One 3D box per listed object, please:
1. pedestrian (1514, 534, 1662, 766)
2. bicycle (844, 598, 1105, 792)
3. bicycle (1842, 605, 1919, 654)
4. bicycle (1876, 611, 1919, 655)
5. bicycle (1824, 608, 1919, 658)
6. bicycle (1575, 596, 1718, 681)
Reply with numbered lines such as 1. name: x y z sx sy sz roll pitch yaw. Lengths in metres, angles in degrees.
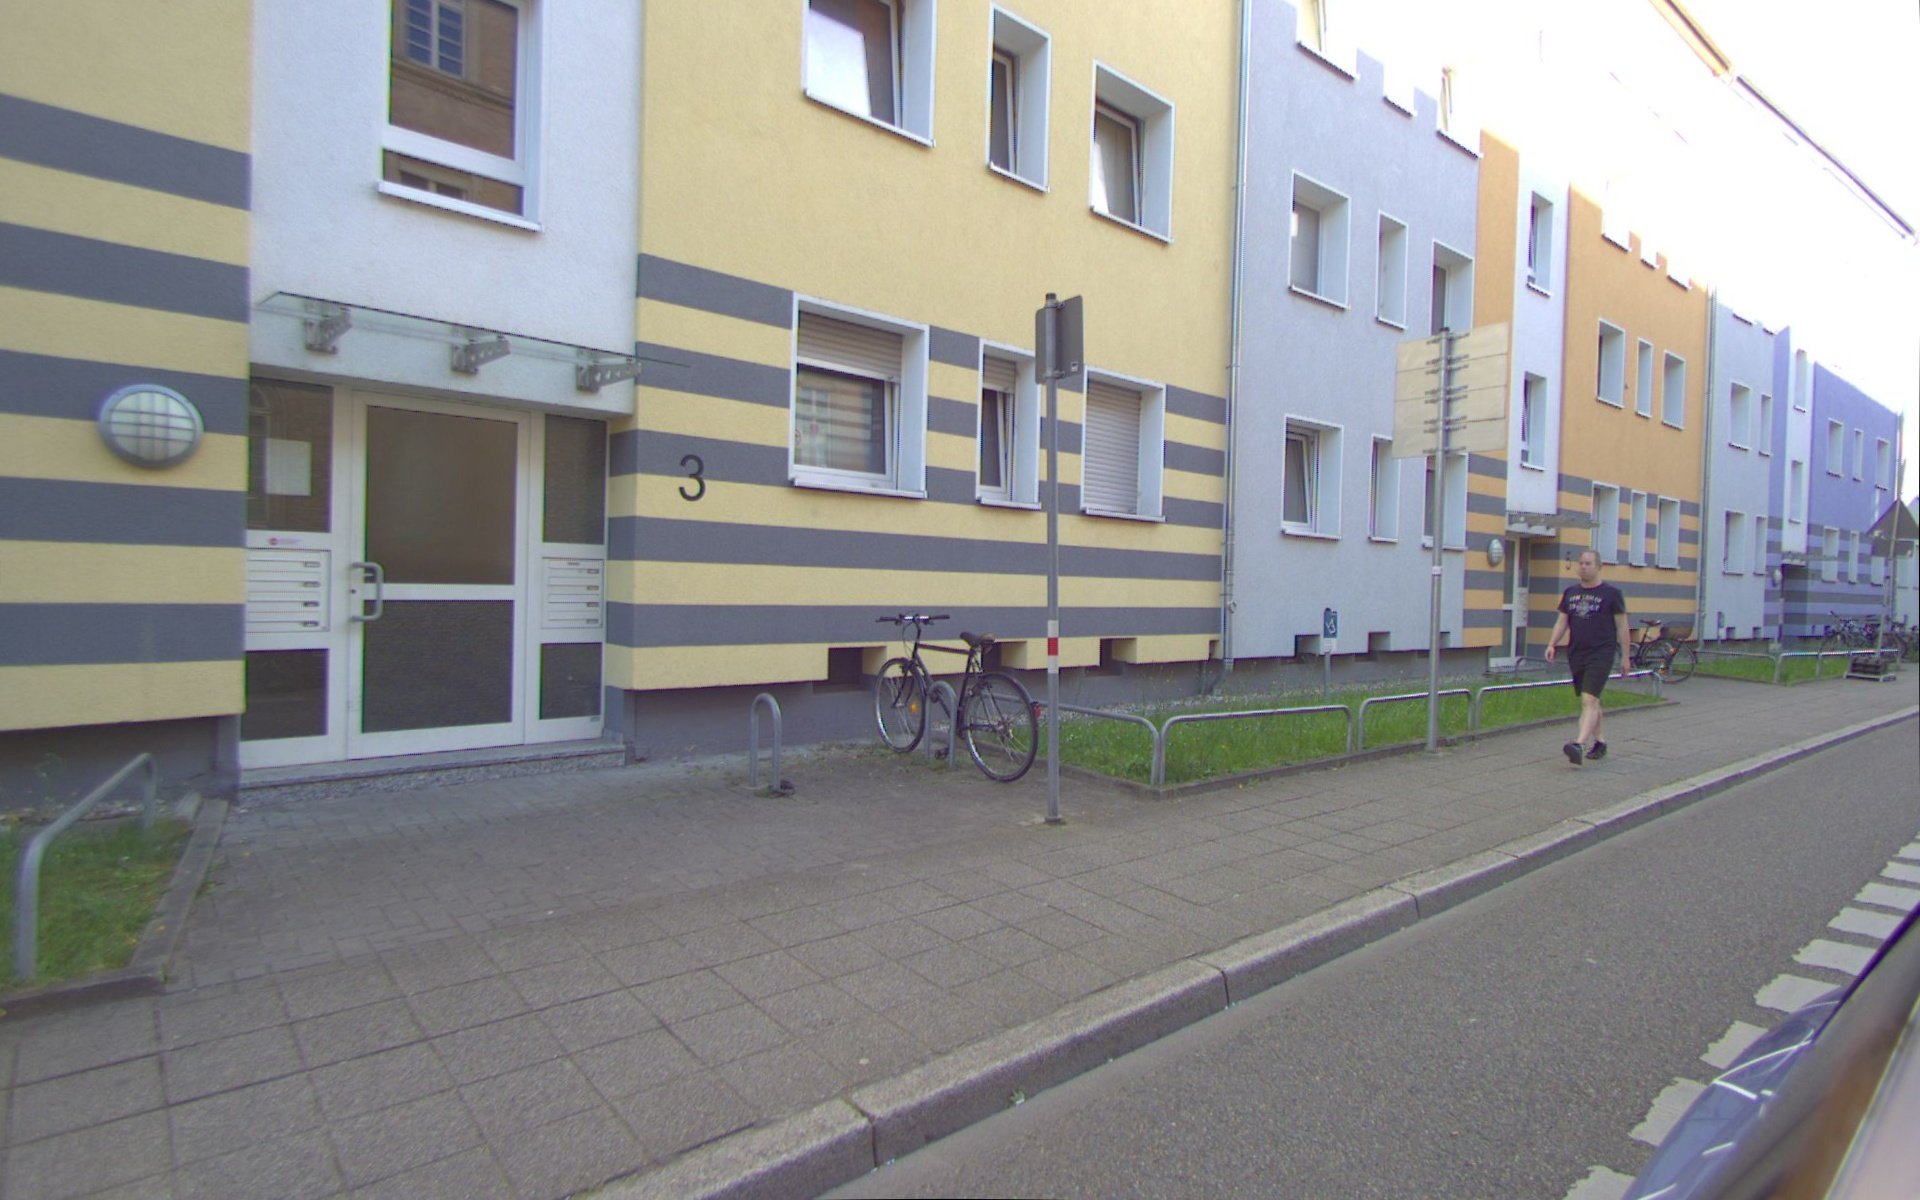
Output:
1. pedestrian: 5.264 0.383 8.487 0.898 1.810 0.646 1 4 -38
2. bicycle: 0.032 0.574 7.043 0.625 1.074 1.946 1 3 -42
3. bicycle: 23.235 0.725 25.262 0.625 1.095 1.711 1 2 -40
4. bicycle: 24.152 0.844 25.338 0.625 1.048 1.709 1 3 -42
5. bicycle: 22.265 0.781 24.668 0.624 1.058 1.711 1 2 -39
6. bicycle: 10.727 0.569 15.862 0.625 1.173 1.709 1 3 -42
